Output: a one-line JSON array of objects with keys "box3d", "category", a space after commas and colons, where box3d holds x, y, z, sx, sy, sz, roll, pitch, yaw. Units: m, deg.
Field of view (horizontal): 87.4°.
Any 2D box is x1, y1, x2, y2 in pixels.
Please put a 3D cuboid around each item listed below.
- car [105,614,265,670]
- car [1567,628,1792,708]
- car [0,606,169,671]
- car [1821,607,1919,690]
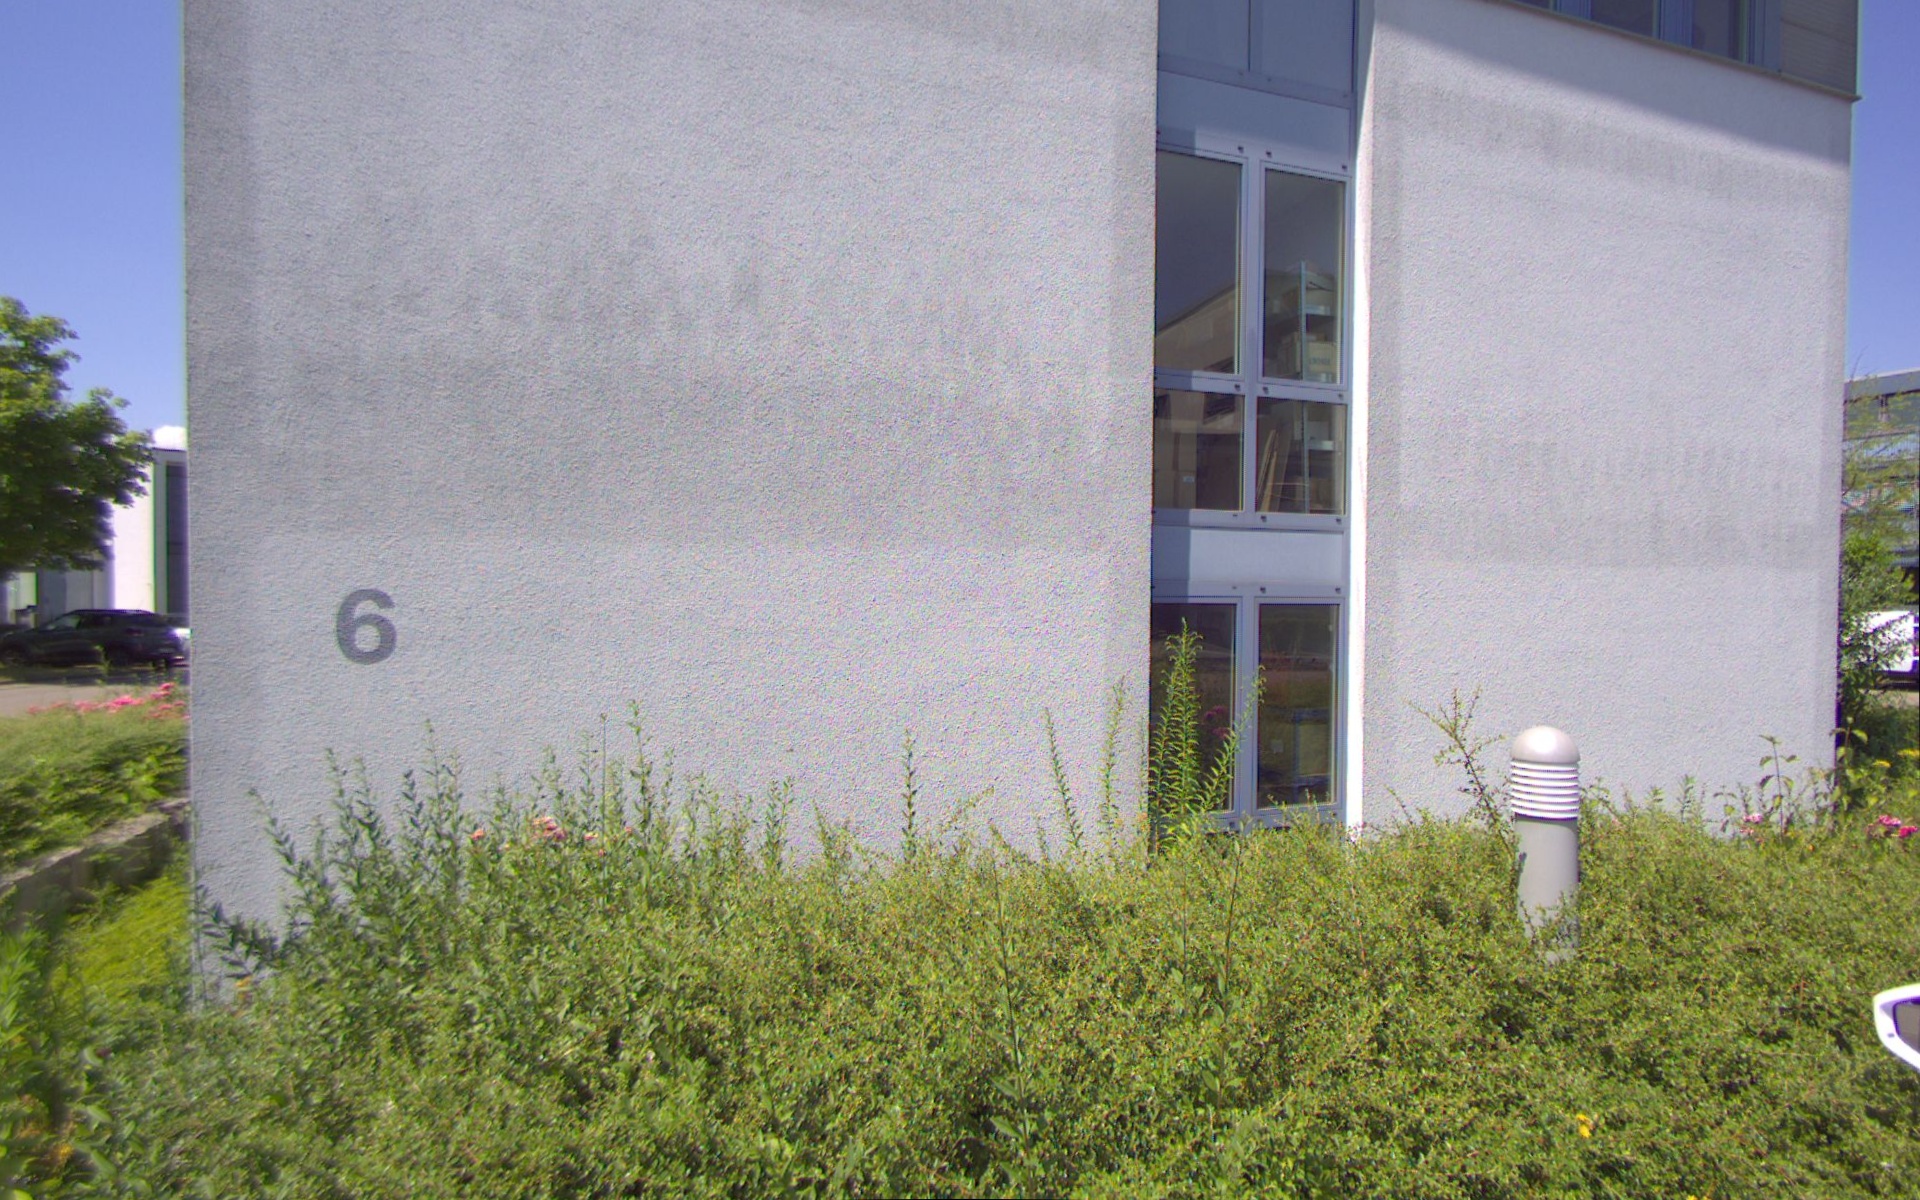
[{"box3d": [-20.893, 1.118, 27.172, 3.030, 1.443, 1.549, 1, -1, -4], "category": "car"}, {"box3d": [15.080, 1.349, 21.052, 4.420, 1.492, 1.852, 0, 0, -24], "category": "car"}, {"box3d": [-21.587, 0.941, 24.696, 2.942, 1.443, 1.549, 2, -1, -4], "category": "car"}, {"box3d": [24.047, 1.144, 25.098, 4.732, 1.916, 1.878, 0, 0, -22], "category": "car"}]
